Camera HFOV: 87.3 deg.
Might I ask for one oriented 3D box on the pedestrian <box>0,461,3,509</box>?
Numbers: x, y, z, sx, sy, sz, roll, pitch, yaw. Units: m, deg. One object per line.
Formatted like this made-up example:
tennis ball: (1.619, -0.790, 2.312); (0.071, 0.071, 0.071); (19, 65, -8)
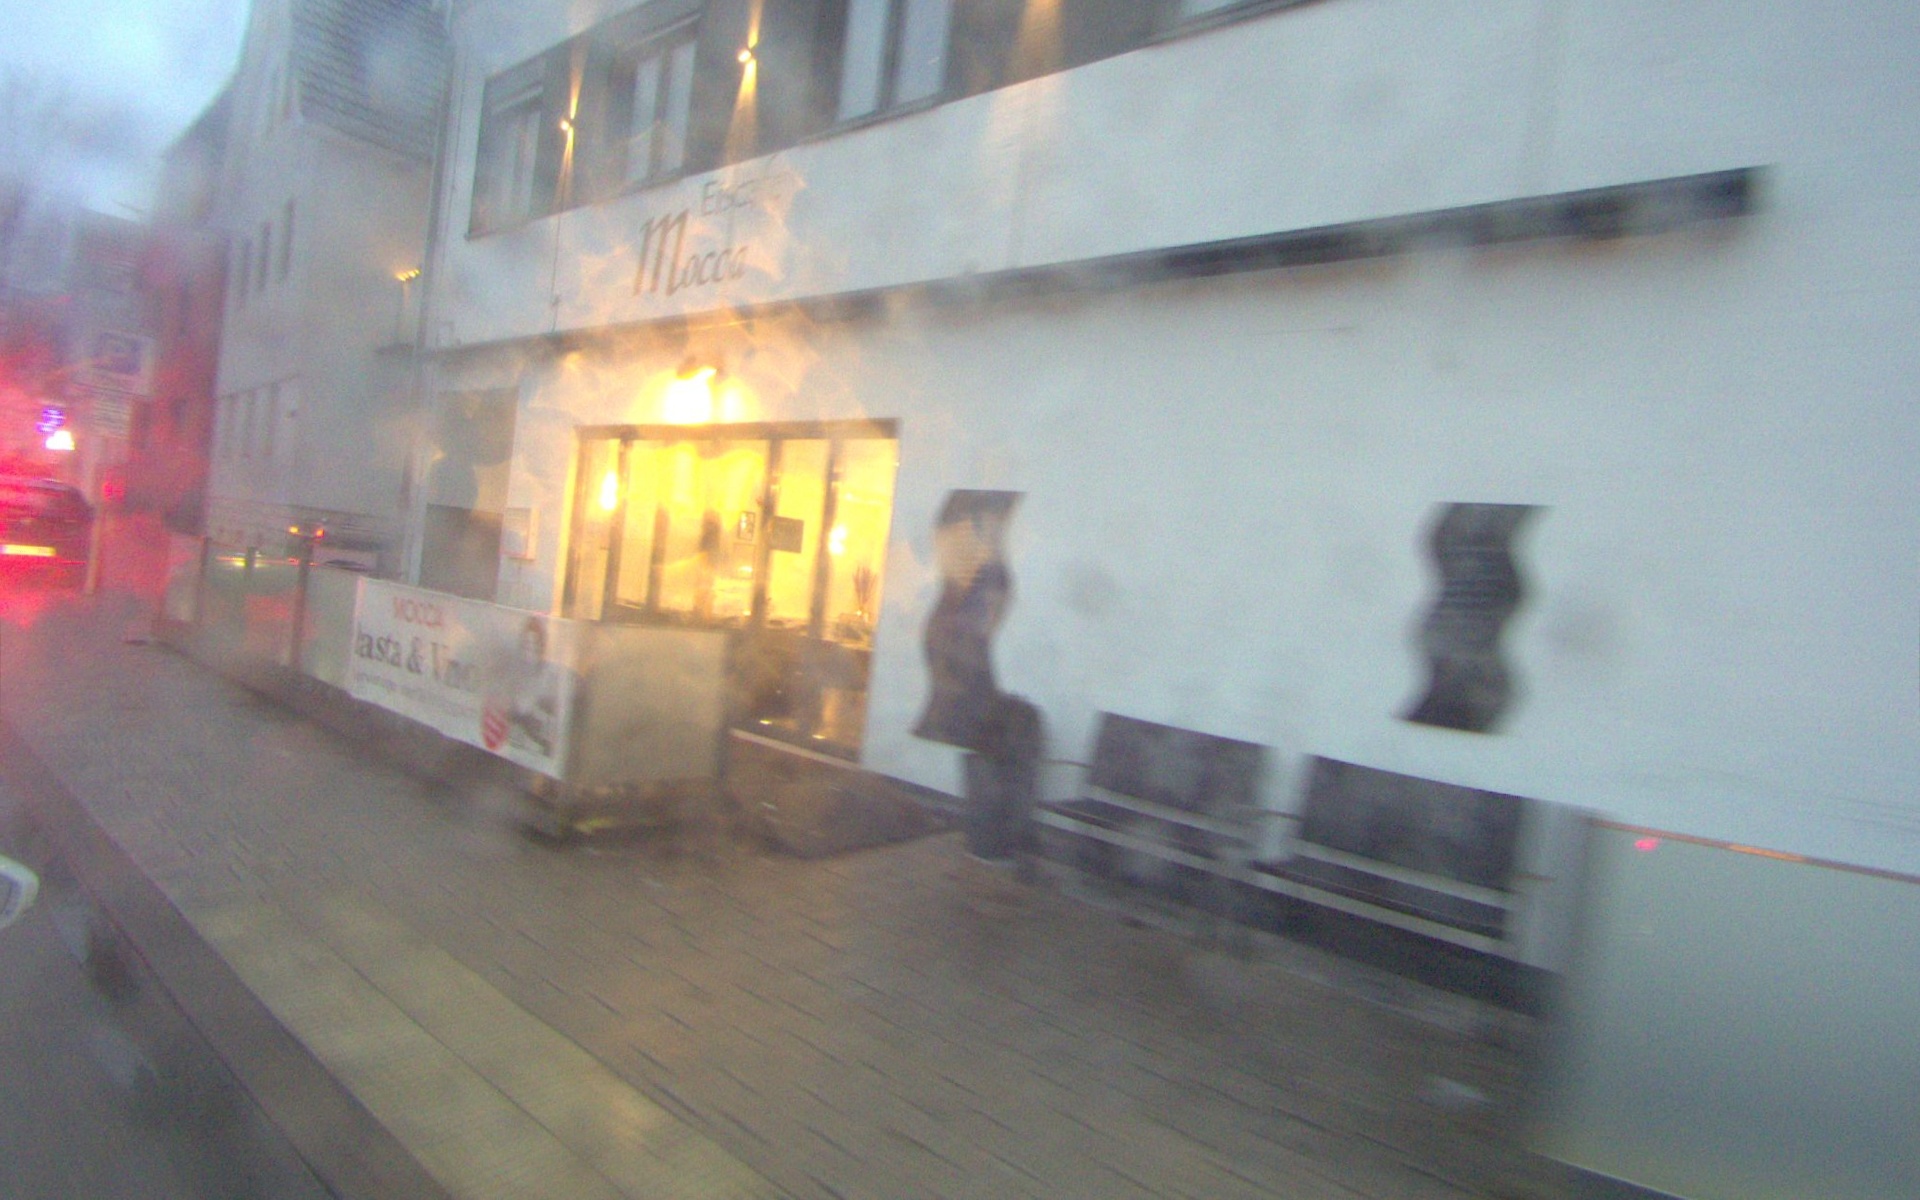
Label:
pedestrian: (-33.415, -3.973, 34.631); (0.644, 1.722, 0.571); (8, 3, 43)

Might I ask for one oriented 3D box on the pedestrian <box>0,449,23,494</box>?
pedestrian: (-38.547, -5.206, 40.703); (0.707, 1.738, 1.024); (5, 3, -35)

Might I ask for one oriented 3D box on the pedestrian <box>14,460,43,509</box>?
pedestrian: (-34.172, -4.236, 36.916); (0.526, 1.672, 0.944); (8, -1, -38)

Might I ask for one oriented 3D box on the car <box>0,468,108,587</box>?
car: (-14.149, -1.183, 15.060); (4.142, 1.484, 1.722); (9, 4, 44)
